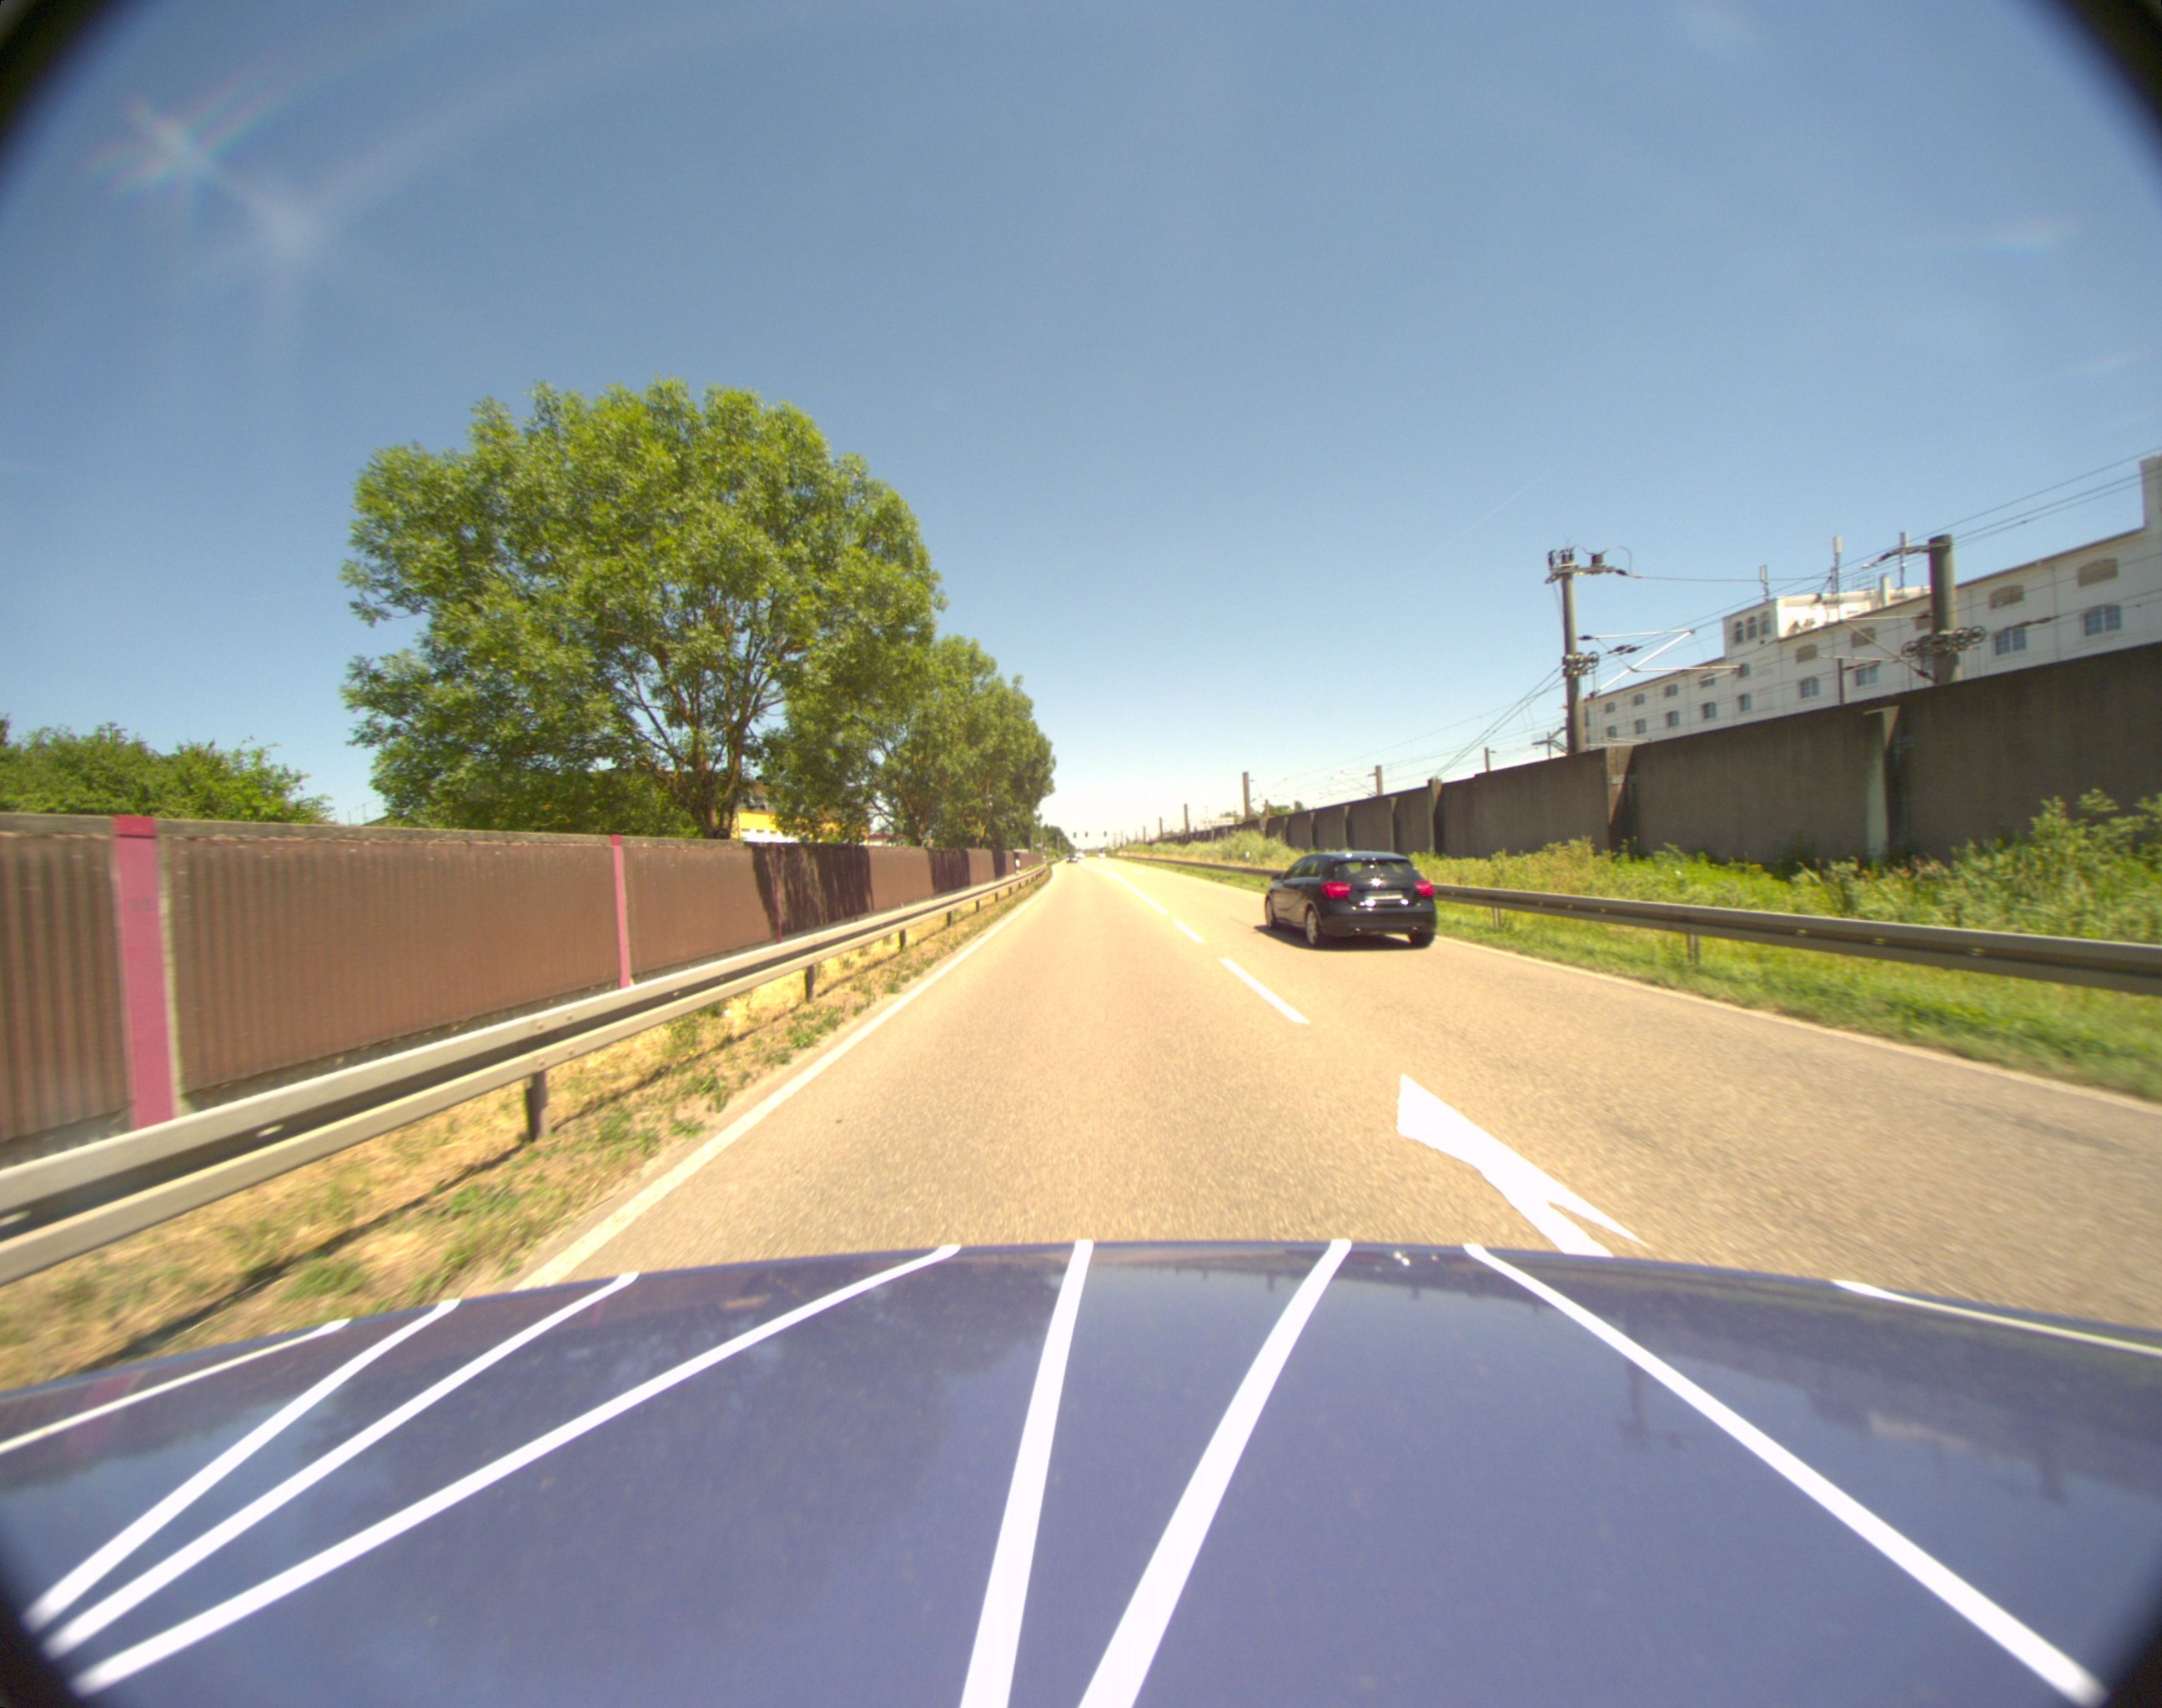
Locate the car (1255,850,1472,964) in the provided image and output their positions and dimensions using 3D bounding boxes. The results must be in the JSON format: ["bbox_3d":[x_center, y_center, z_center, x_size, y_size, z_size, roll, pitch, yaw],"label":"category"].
[{"bbox_3d":[4.346,0.712,12.452,1.999,1.499,3.999,-2,0,-1],"label":"car"}]

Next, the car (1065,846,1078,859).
[{"bbox_3d":[-1.537,-0.221,124.625,1.999,2.002,3.999,-2,0,-1],"label":"car"}]

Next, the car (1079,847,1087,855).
[{"bbox_3d":[0.502,-0.825,209.733,1.999,2.002,3.999,-2,1,0],"label":"car"}]

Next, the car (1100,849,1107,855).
[{"bbox_3d":[6.218,-0.559,211.605,1.600,1.466,3.773,-2,0,-1],"label":"car"}]
